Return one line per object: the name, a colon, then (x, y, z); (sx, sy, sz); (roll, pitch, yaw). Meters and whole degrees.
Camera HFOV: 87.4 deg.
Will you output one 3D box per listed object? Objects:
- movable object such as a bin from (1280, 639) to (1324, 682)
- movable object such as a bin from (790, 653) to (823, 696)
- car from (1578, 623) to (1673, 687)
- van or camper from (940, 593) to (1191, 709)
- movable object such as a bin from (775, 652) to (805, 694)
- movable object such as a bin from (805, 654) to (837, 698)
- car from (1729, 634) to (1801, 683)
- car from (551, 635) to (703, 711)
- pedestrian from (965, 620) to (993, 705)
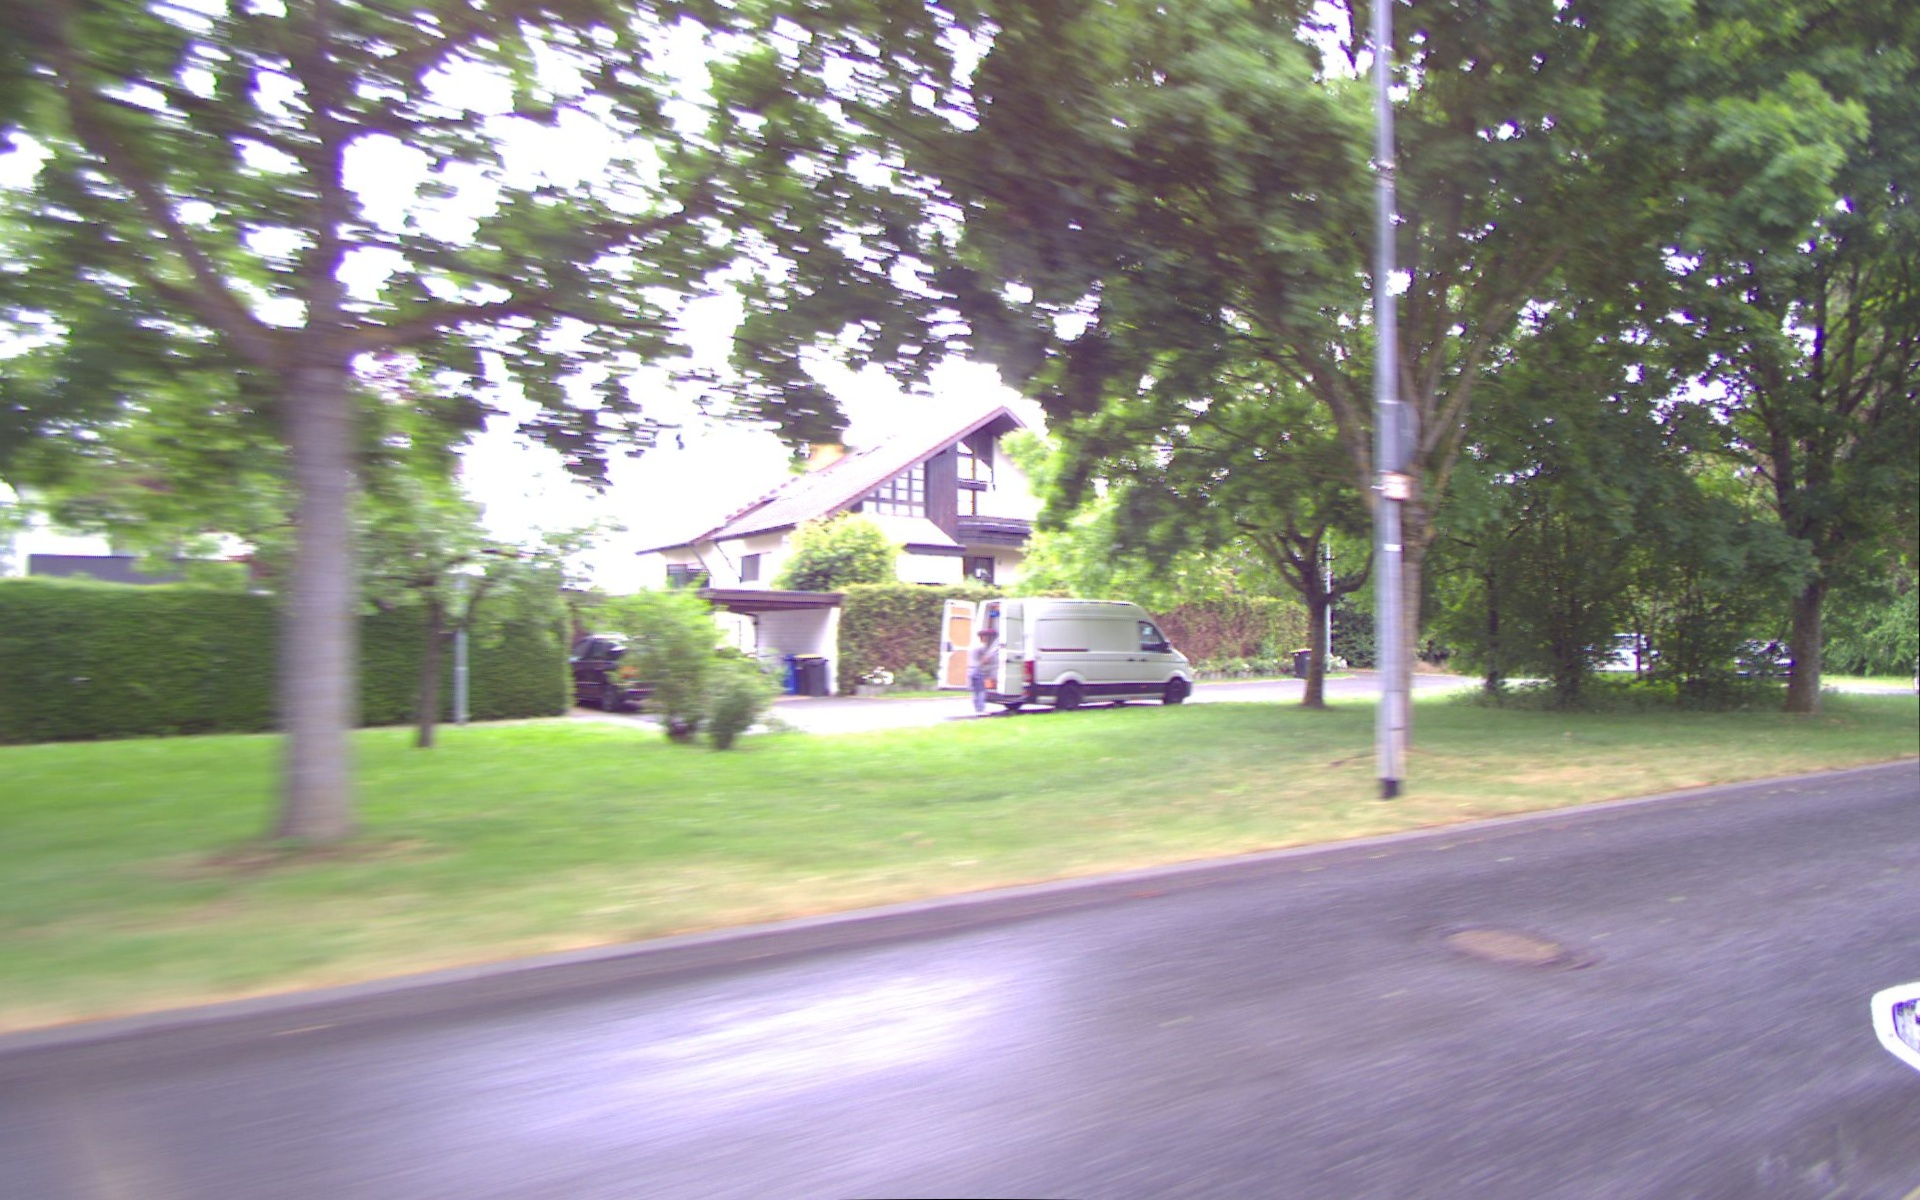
movable object such as a bin: (12.704, 2.237, 37.330); (1.158, 1.487, 1.075); (2, 0, -38)
movable object such as a bin: (-4.042, 1.945, 26.448); (0.545, 1.072, 0.702); (-1, 0, -40)
car: (20.303, 1.706, 30.550); (1.881, 1.793, 4.877); (-2, -5, 40)
van or camper: (2.565, 1.149, 23.169); (6.102, 2.366, 2.073); (2, -3, -39)
movable object such as a bin: (-4.567, 1.956, 26.974); (0.545, 1.072, 0.650); (-1, 0, -40)
movable object such as a bin: (-3.582, 1.942, 25.908); (0.545, 1.072, 0.650); (-1, 0, -40)
car: (29.554, 2.114, 36.984); (1.838, 1.529, 4.589); (-1, 0, 37)
car: (-7.874, 1.637, 23.585); (1.891, 1.615, 3.949); (2, -3, -43)
pedestrian: (0.413, 1.342, 21.703); (0.397, 1.806, 0.480); (1, -2, -39)
